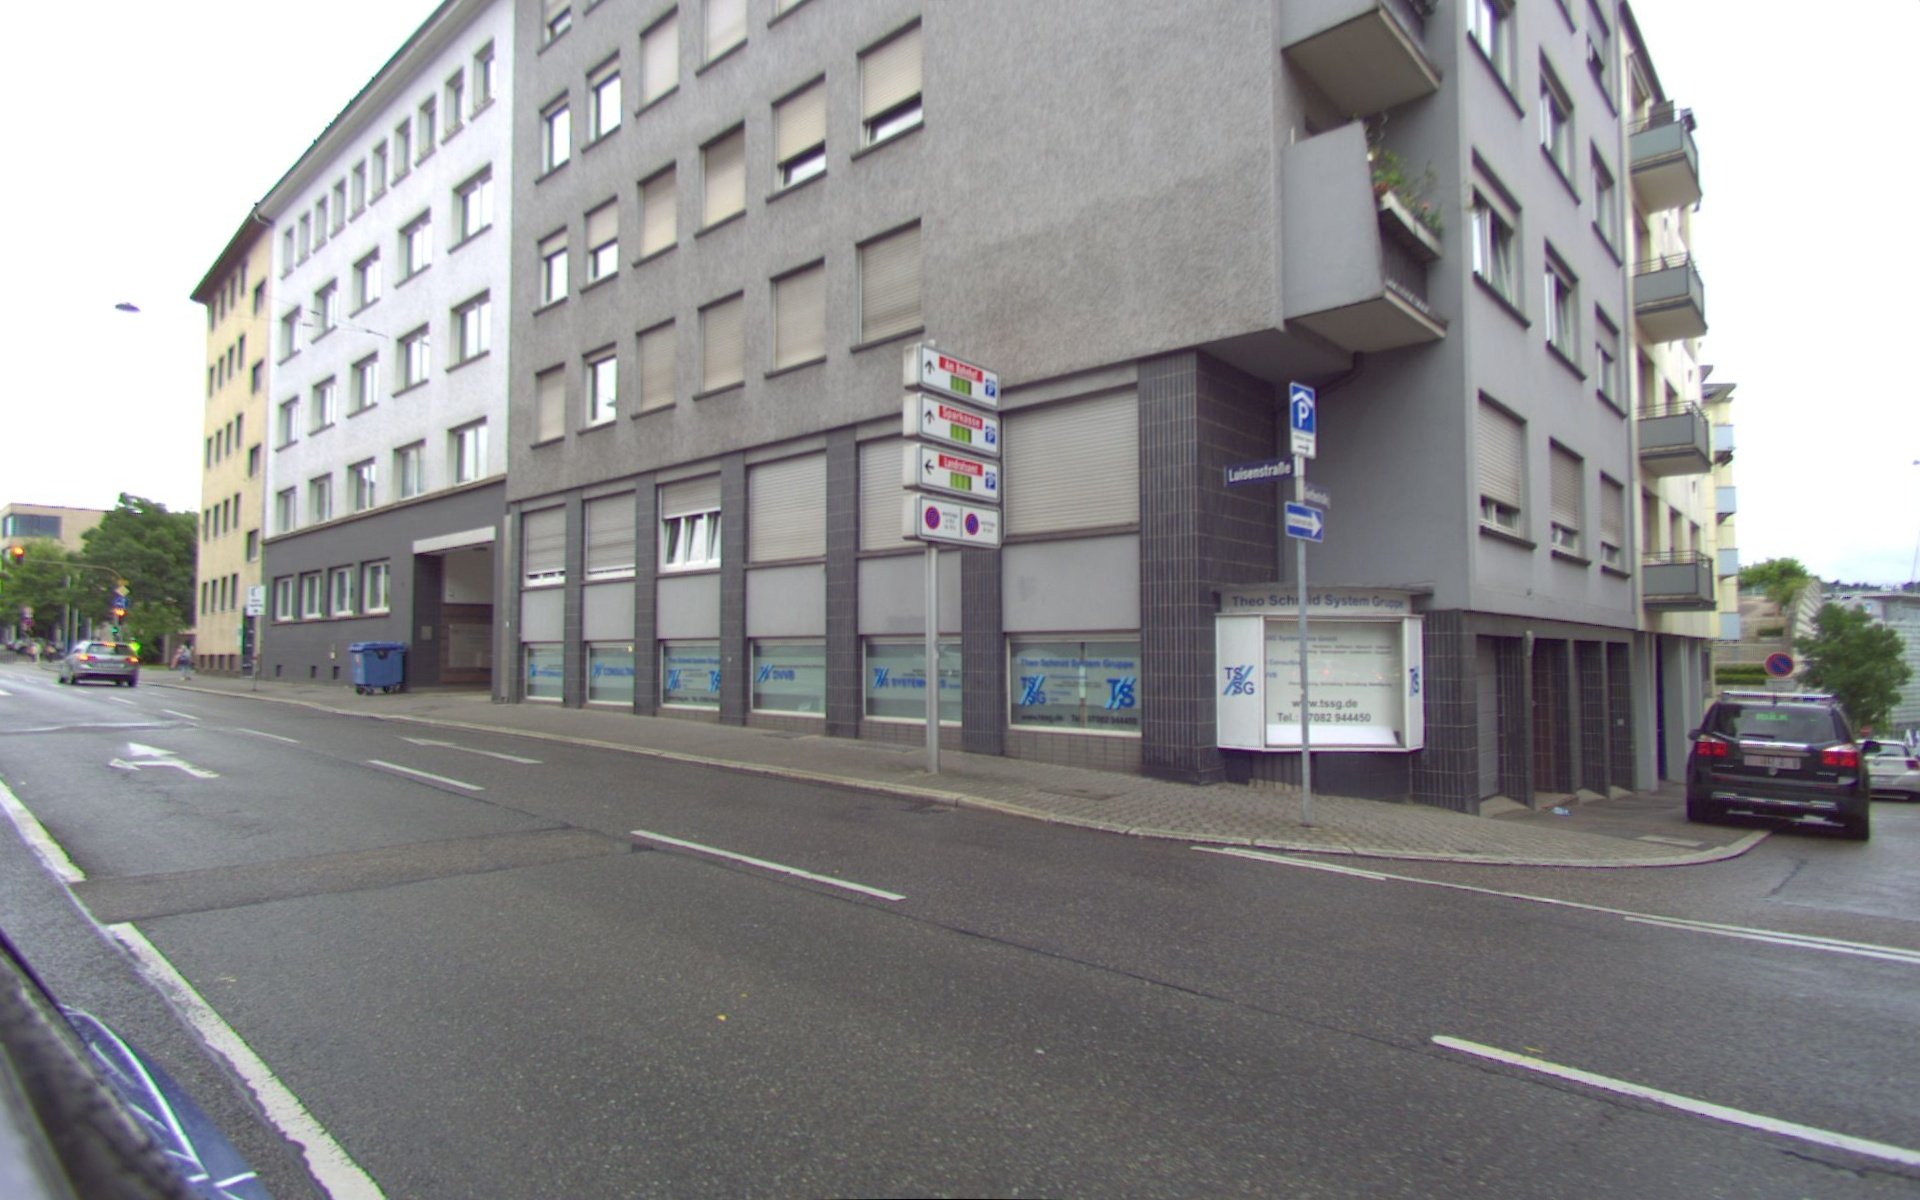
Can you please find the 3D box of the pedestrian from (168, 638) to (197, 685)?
[{"bbox_3d":[-28.787,2.250,37.474,0.811,1.702,0.709,-3,-3,44],"label":"pedestrian"}]

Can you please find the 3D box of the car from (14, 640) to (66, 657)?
[{"bbox_3d":[-95.617,5.012,105.240,3.940,1.597,2.001,1,-2,-44],"label":"car"}]

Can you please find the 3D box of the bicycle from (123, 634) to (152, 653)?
[{"bbox_3d":[-40.450,2.121,49.772,1.867,0.914,0.875,-2,-2,44],"label":"bicycle"}]

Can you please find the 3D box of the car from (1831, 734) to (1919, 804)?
[{"bbox_3d":[22.254,4.028,24.314,1.929,1.471,3.946,-2,-7,40],"label":"car"}]

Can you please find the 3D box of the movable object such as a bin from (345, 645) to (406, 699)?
[{"bbox_3d":[-15.070,1.834,26.093,1.190,1.334,1.064,-2,-2,42],"label":"movable object such as a bin"}]

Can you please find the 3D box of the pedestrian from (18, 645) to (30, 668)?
[{"bbox_3d":[-73.659,4.463,79.648,0.692,1.785,0.588,-2,-2,41],"label":"pedestrian"}]

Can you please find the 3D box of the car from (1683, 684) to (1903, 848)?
[{"bbox_3d":[10.890,2.090,13.281,1.929,1.731,3.946,-2,-7,40],"label":"car"}]

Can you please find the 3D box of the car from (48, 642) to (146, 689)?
[{"bbox_3d":[-28.880,2.179,33.831,4.293,1.427,1.807,-3,-7,41],"label":"car"}]

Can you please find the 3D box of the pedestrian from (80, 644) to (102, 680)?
[{"bbox_3d":[-42.500,3.021,49.481,0.811,1.702,0.709,-3,-3,44],"label":"pedestrian"}]

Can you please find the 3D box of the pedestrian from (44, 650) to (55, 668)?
[{"bbox_3d":[-72.606,4.700,80.679,0.475,1.386,0.614,-2,-2,42],"label":"pedestrian"}]

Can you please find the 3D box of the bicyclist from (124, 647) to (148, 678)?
[{"bbox_3d":[-40.476,3.052,49.709,0.813,1.453,0.833,-3,-3,44],"label":"bicyclist"}]
